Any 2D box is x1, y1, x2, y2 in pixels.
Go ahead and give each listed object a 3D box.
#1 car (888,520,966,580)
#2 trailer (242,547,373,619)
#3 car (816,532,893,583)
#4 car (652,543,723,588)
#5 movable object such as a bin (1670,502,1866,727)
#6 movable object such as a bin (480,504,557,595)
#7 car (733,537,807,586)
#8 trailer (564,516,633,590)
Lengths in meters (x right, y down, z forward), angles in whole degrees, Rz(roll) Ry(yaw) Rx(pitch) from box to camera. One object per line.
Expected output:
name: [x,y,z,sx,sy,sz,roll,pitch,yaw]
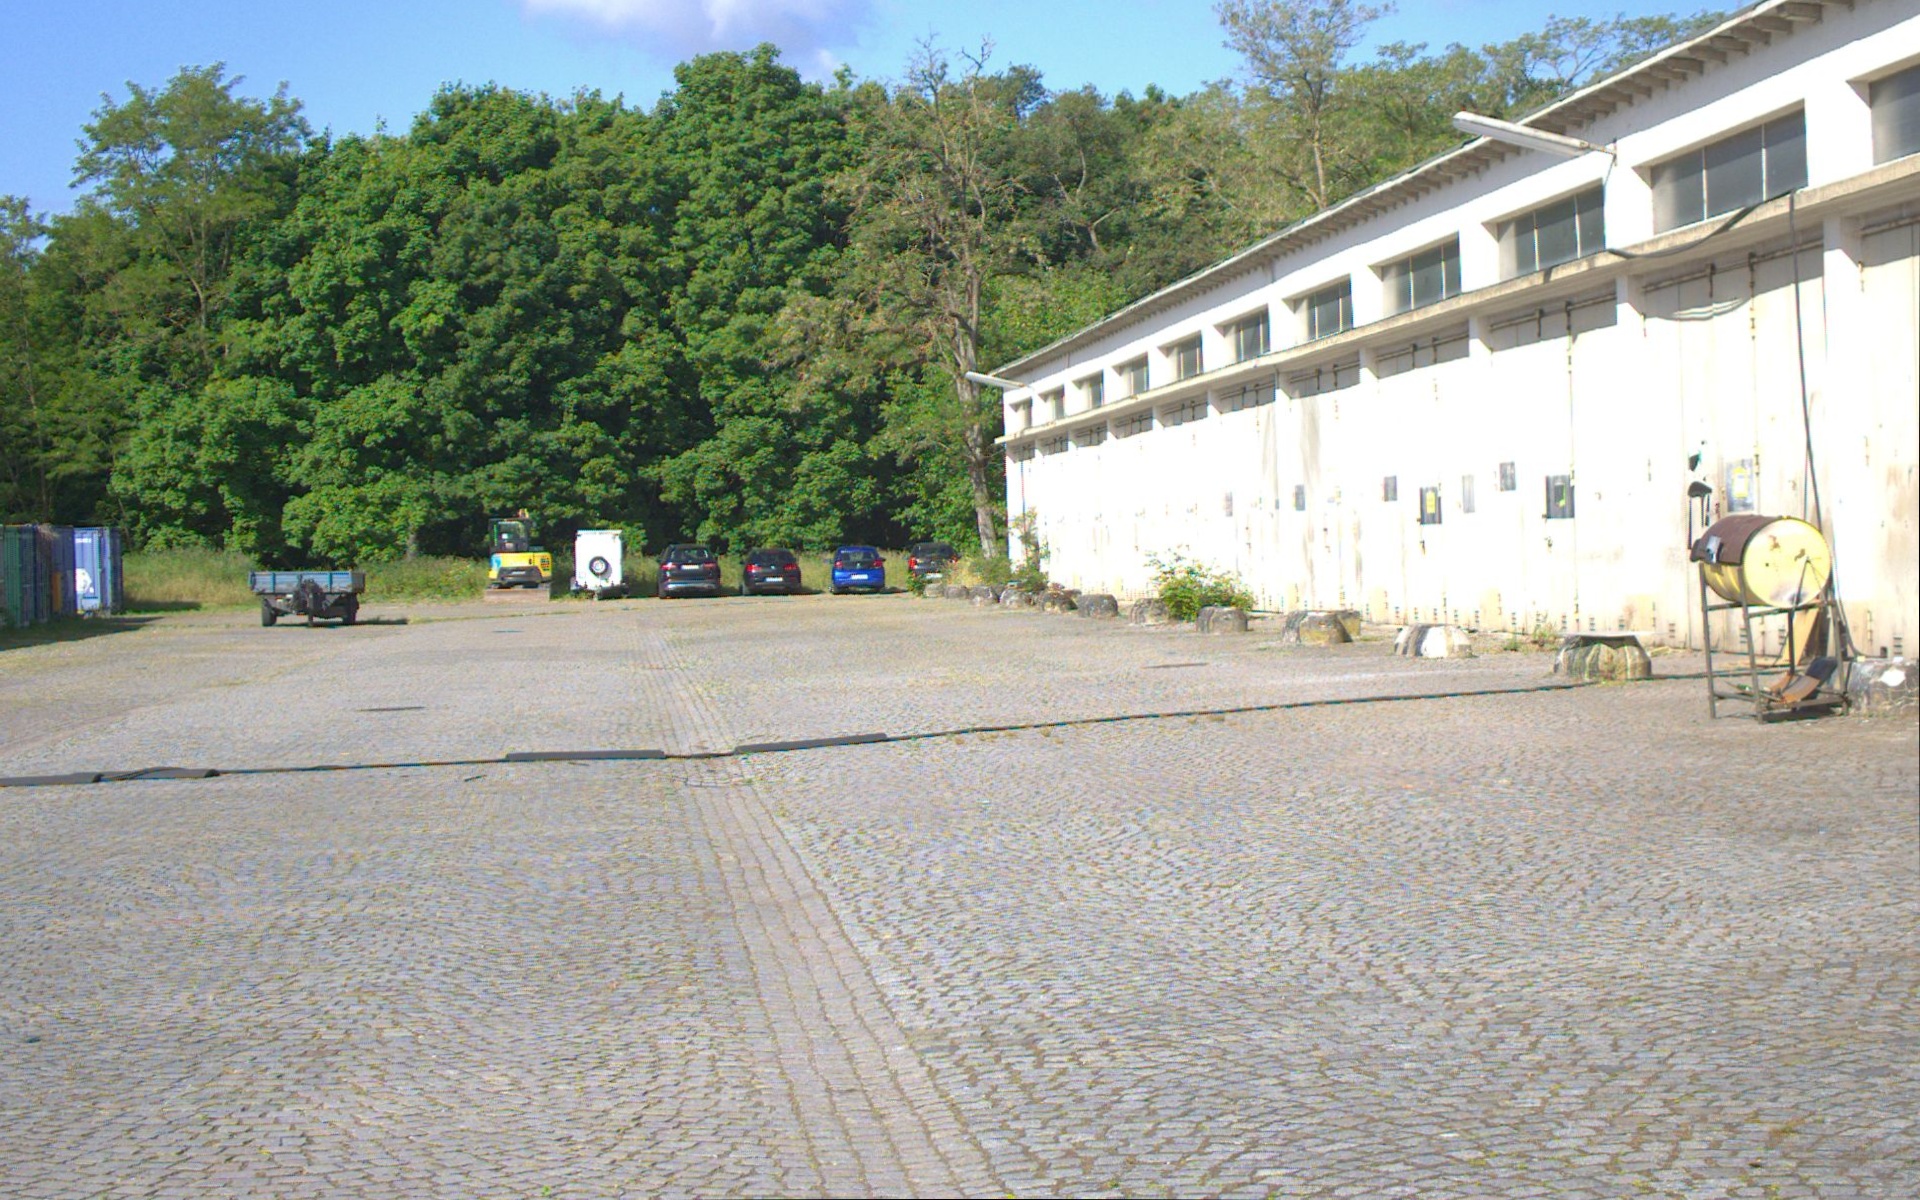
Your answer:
car: [-1.036,-1.552,106.902,1.993,1.766,4.001,-2,1,-6]
trailer: [-16.349,-0.462,86.460,2.791,1.640,5.622,-2,1,-7]
car: [-3.258,-1.326,105.447,1.993,1.461,4.001,-2,1,-6]
car: [-8.314,-1.067,104.610,1.993,1.254,4.001,-2,1,-6]
movable object such as a bin: [5.233,0.081,22.323,0.875,1.396,1.102,-2,1,-7]
movable object such as a bin: [-13.645,-1.566,106.103,2.231,2.648,4.001,-2,1,-8]
car: [-5.837,-1.191,105.217,1.993,1.419,4.001,-2,1,-6]
trailer: [-11.111,-1.461,105.581,1.993,2.155,4.433,-2,1,-6]
